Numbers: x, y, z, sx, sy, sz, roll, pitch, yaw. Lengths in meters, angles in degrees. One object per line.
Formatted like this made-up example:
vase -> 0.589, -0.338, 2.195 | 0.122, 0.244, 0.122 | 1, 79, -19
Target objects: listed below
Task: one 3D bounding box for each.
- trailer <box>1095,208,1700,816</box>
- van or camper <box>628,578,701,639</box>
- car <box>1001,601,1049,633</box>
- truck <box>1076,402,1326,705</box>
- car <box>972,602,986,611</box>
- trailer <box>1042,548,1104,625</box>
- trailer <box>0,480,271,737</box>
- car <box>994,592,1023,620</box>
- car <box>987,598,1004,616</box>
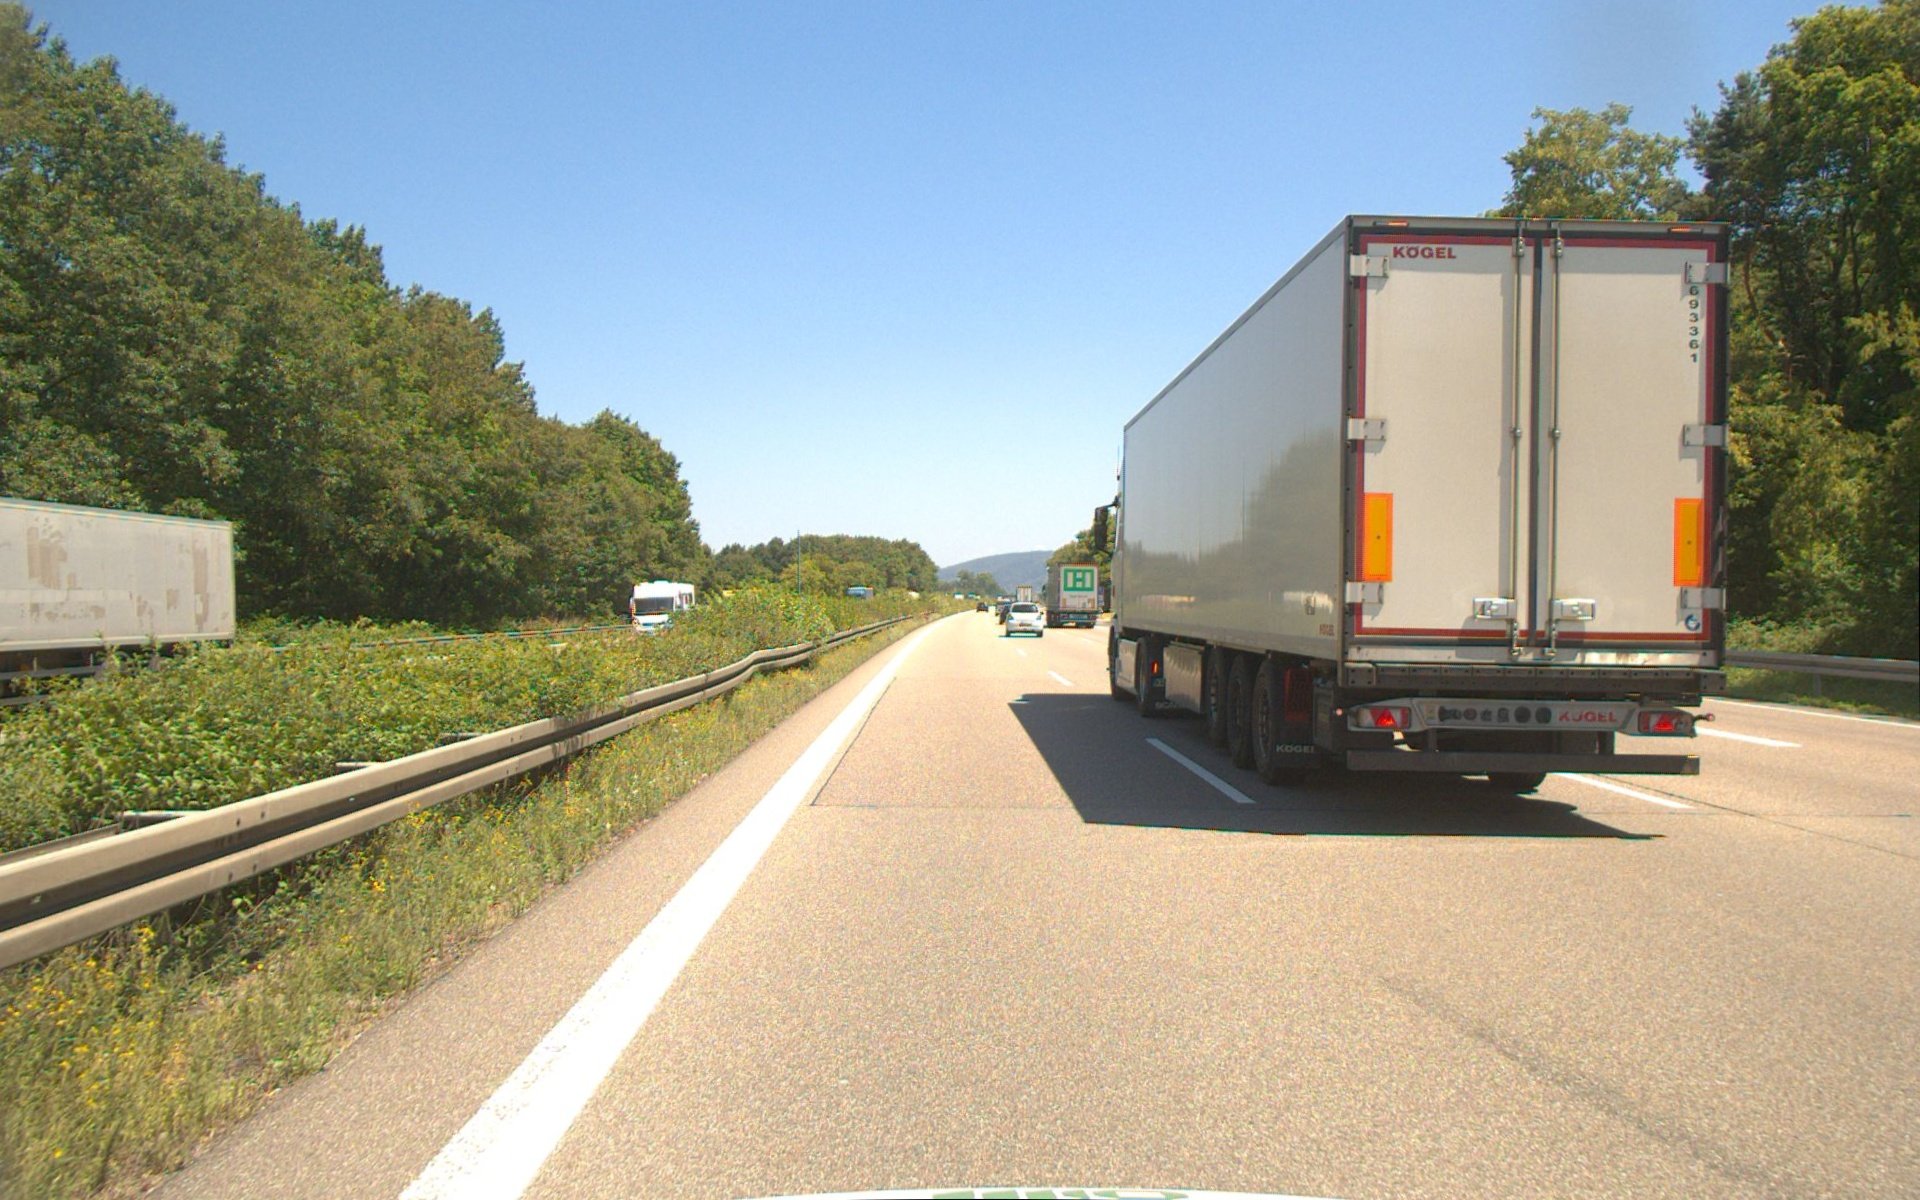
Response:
trailer -> 3.552, -0.636, 17.686 | 3.157, 4.216, 12.350 | 0, 0, 0
van or camper -> -16.119, 0.455, 90.860 | 2.370, 3.166, 9.086 | -1, 0, 0
car -> 2.927, 0.761, 75.120 | 1.776, 1.429, 3.314 | 0, 0, -5
truck -> 3.535, -0.665, 25.440 | 3.163, 4.230, 4.559 | 0, 0, 0
car -> 3.008, 0.970, 259.670 | 1.845, 1.373, 4.464 | 0, 0, -4
trailer -> 7.252, -0.807, 107.701 | 3.117, 4.708, 12.048 | 0, 0, 0
trailer -> -16.262, 0.140, 29.047 | 2.850, 3.945, 13.639 | 0, 0, -1
car -> 3.478, 0.442, 118.606 | 1.857, 1.926, 4.002 | -1, 0, 5
car -> 4.115, 0.794, 193.120 | 1.843, 2.049, 4.000 | -1, 0, 0
